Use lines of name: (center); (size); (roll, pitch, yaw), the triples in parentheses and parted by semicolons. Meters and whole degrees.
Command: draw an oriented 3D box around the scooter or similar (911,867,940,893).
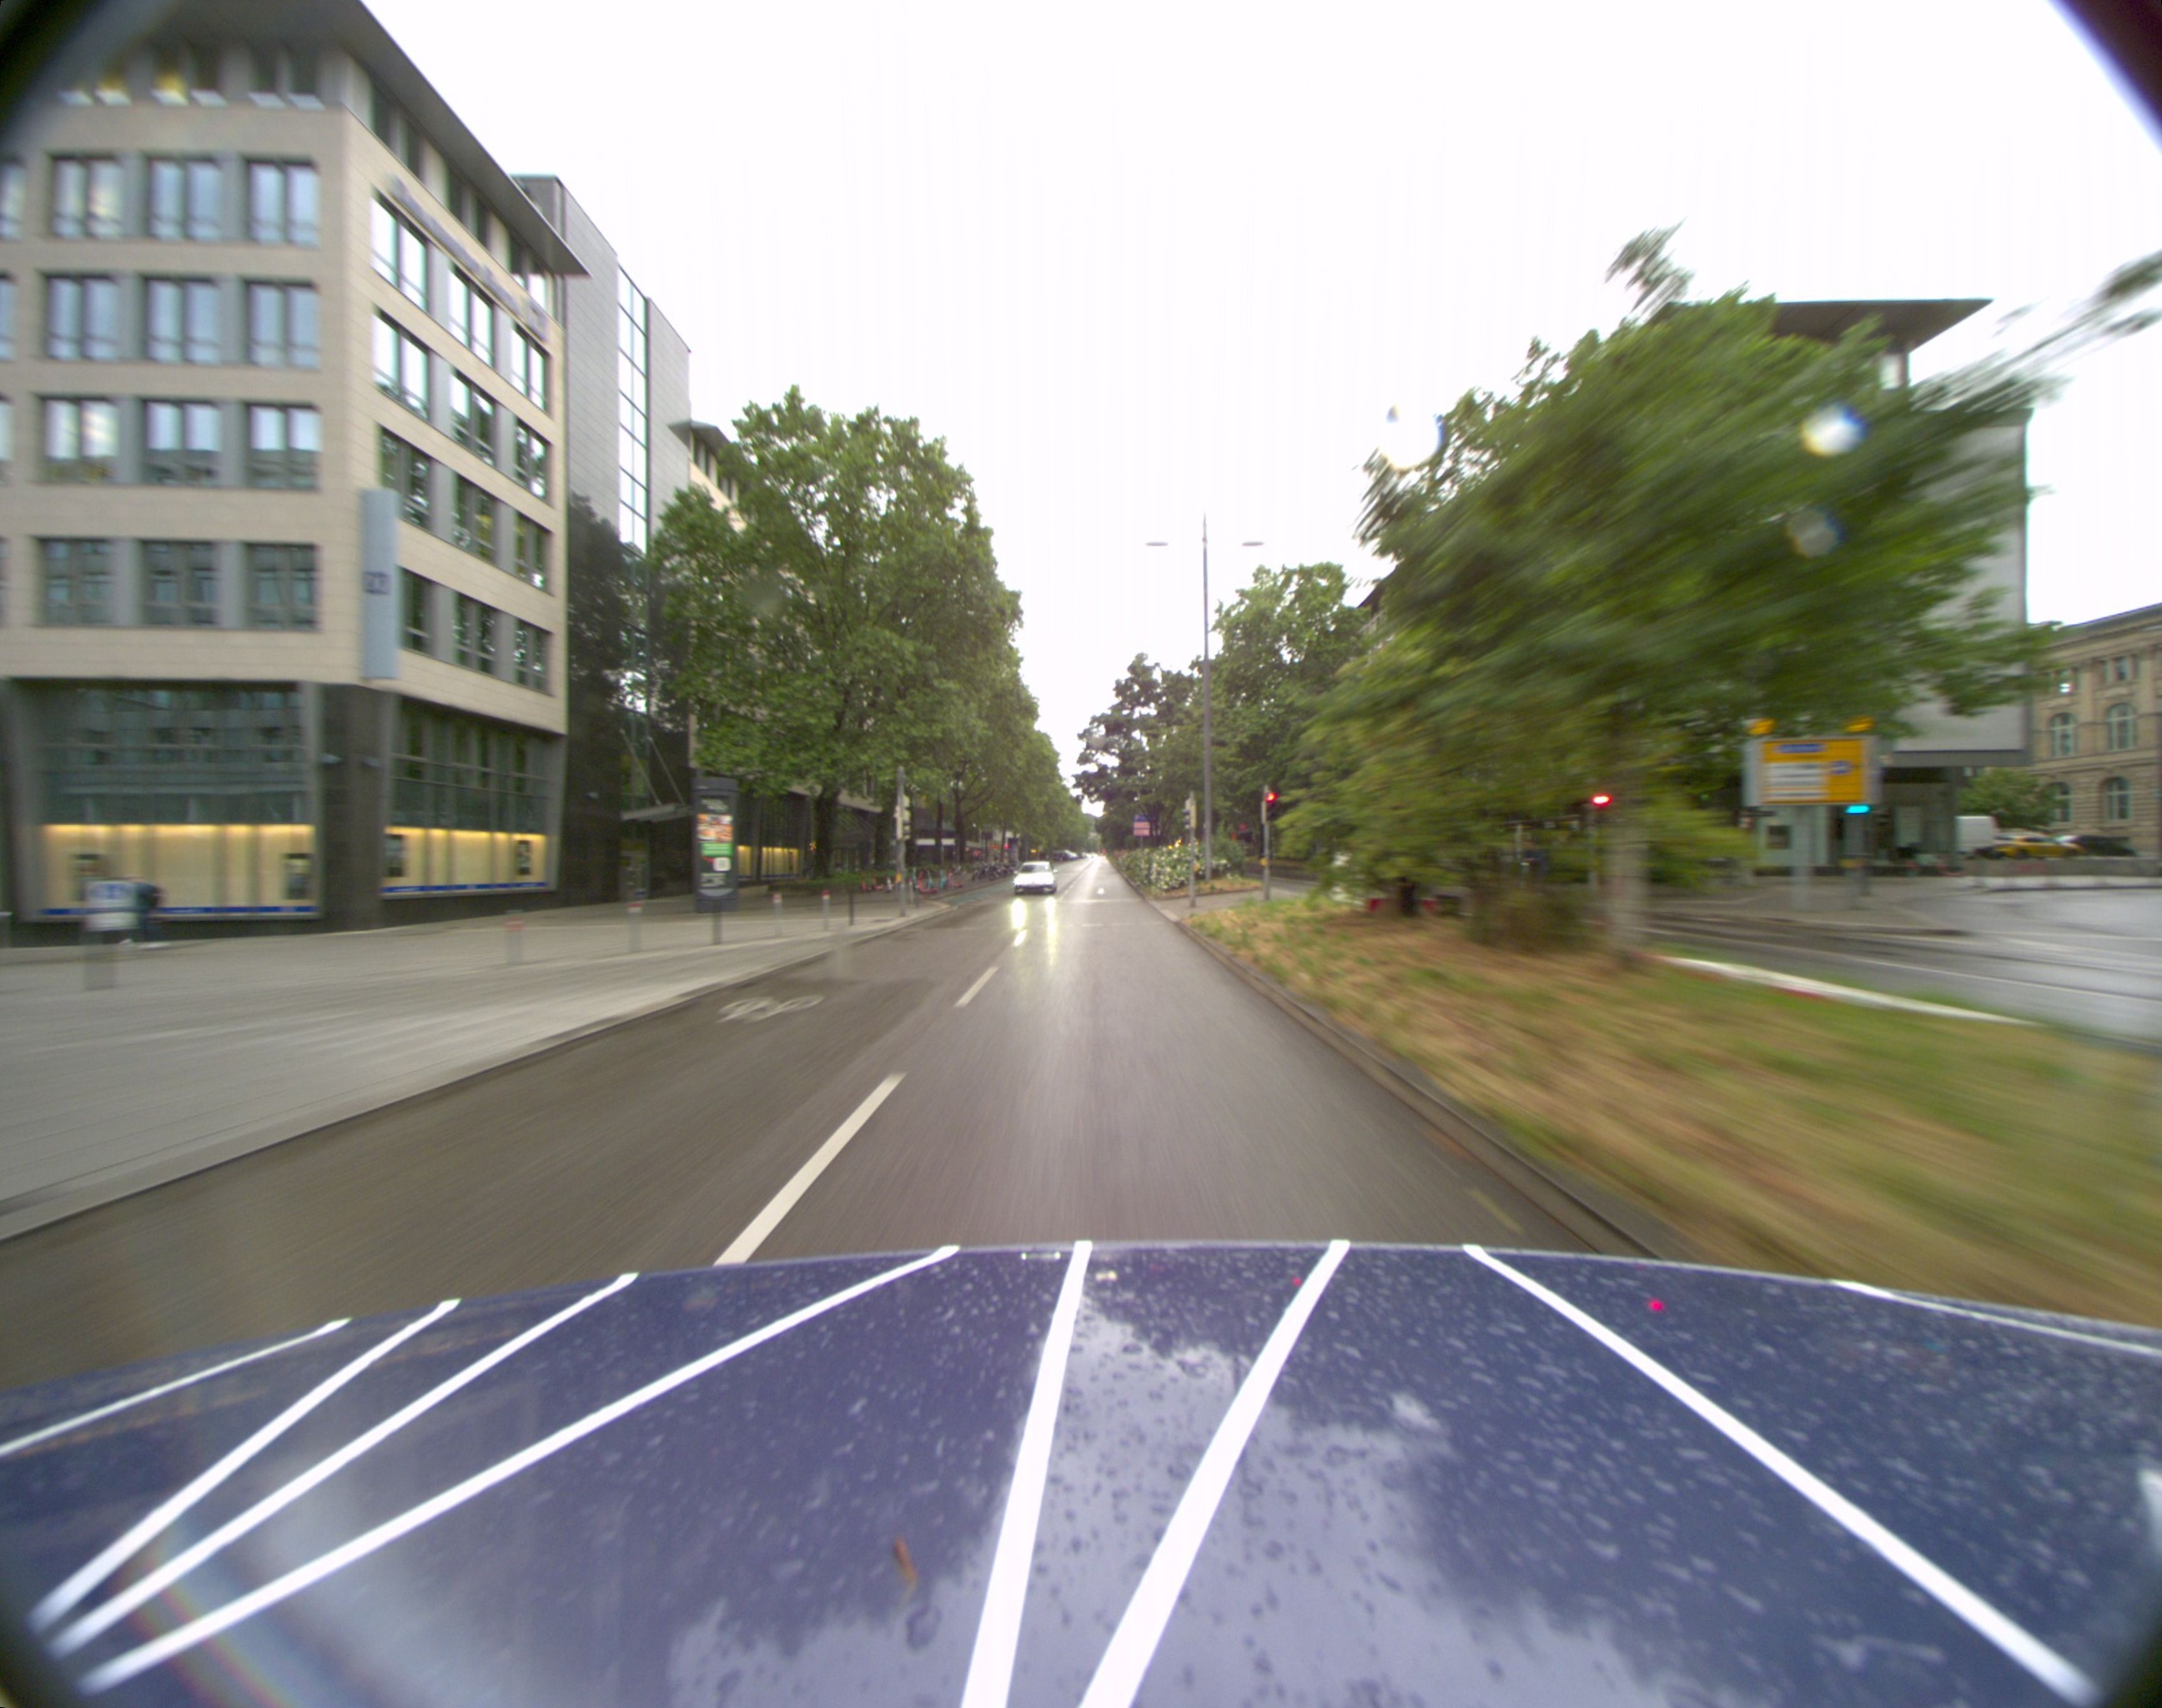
scooter or similar: (-7.651, 1.257, 37.438); (1.291, 1.252, 0.490); (0, -1, 13)

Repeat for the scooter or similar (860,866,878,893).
scooter or similar: (-9.954, 1.179, 35.611); (0.490, 1.191, 1.290); (-2, 2, -29)

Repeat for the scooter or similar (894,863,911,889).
scooter or similar: (-8.906, 1.104, 38.002); (0.489, 1.252, 1.294); (0, -1, 2)

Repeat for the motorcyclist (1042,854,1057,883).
motorcyclist: (-1.799, 0.826, 43.162); (0.744, 1.575, 1.059); (-2, 1, 2)

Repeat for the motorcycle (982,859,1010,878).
motorcycle: (-6.354, 1.091, 56.863); (1.964, 1.365, 0.728); (1, -1, -20)

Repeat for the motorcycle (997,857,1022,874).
motorcycle: (-6.083, 0.994, 64.685); (2.062, 1.420, 0.728); (1, -1, -20)

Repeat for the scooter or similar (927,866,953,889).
scooter or similar: (-7.505, 1.256, 40.473); (1.292, 1.228, 0.489); (0, -1, 4)

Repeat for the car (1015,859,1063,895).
car: (-1.903, 1.030, 35.425); (1.795, 1.463, 3.794); (-2, 0, 2)

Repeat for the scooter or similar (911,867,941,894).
scooter or similar: (-7.385, 1.269, 36.284); (1.291, 1.252, 0.490); (0, -1, 13)

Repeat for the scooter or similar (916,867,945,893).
scooter or similar: (-7.291, 1.256, 36.893); (1.291, 1.252, 0.490); (0, -1, 13)

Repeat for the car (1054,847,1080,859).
car: (-3.439, -0.230, 185.080); (6.267, 2.665, 2.326); (-1, 2, 37)

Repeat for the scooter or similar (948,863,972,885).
scooter or similar: (-7.031, 1.177, 44.083); (1.292, 1.270, 0.537); (0, -1, 6)

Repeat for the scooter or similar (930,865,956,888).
scooter or similar: (-7.486, 1.243, 41.217); (1.292, 1.228, 0.489); (0, -1, 4)

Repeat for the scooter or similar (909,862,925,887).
scooter or similar: (-8.457, 1.068, 39.240); (0.489, 1.252, 1.294); (0, -1, 2)

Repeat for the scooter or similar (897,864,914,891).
scooter or similar: (-8.358, 1.118, 36.193); (0.489, 1.252, 1.294); (0, -1, 2)

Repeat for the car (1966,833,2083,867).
car: (55.663, -0.231, 44.891); (4.136, 1.827, 1.930); (-1, 0, 9)

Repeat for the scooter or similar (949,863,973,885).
scooter or similar: (-7.035, 1.170, 44.527); (1.292, 1.270, 0.537); (0, -1, 6)

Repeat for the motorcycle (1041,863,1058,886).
motorcycle: (-1.788, 1.132, 43.271); (0.744, 1.194, 2.235); (-2, 1, 2)

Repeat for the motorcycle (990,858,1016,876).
motorcycle: (-6.169, 1.027, 60.292); (1.964, 1.365, 0.728); (1, -1, -20)

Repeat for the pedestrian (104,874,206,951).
pedestrian: (-23.551, 1.458, 19.359); (1.277, 1.839, 0.919); (-2, 2, -13)

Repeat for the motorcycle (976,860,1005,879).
motorcycle: (-6.363, 1.092, 53.589); (1.963, 1.365, 0.728); (1, -1, -14)

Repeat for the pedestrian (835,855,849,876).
pedestrian: (-19.493, 0.920, 61.969); (0.727, 1.683, 0.830); (0, 0, 44)

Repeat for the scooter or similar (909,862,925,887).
scooter or similar: (-8.457, 1.068, 39.240); (0.489, 1.252, 1.294); (0, -1, 2)

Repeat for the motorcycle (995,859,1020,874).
motorcycle: (-6.511, 1.101, 67.046); (2.064, 1.206, 0.683); (1, 1, -34)

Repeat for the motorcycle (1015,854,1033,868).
motorcycle: (-6.002, 0.744, 80.272); (0.682, 1.359, 1.950); (4, 2, 42)

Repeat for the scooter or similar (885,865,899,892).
scooter or similar: (-8.787, 1.147, 35.350); (0.489, 1.191, 1.292); (-1, 1, -8)

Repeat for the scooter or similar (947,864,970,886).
scooter or similar: (-6.977, 1.188, 43.396); (1.293, 1.270, 0.536); (1, -1, -9)

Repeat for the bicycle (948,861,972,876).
bicycle: (-8.515, 0.994, 53.512); (0.637, 1.022, 1.766); (-1, 1, 30)
